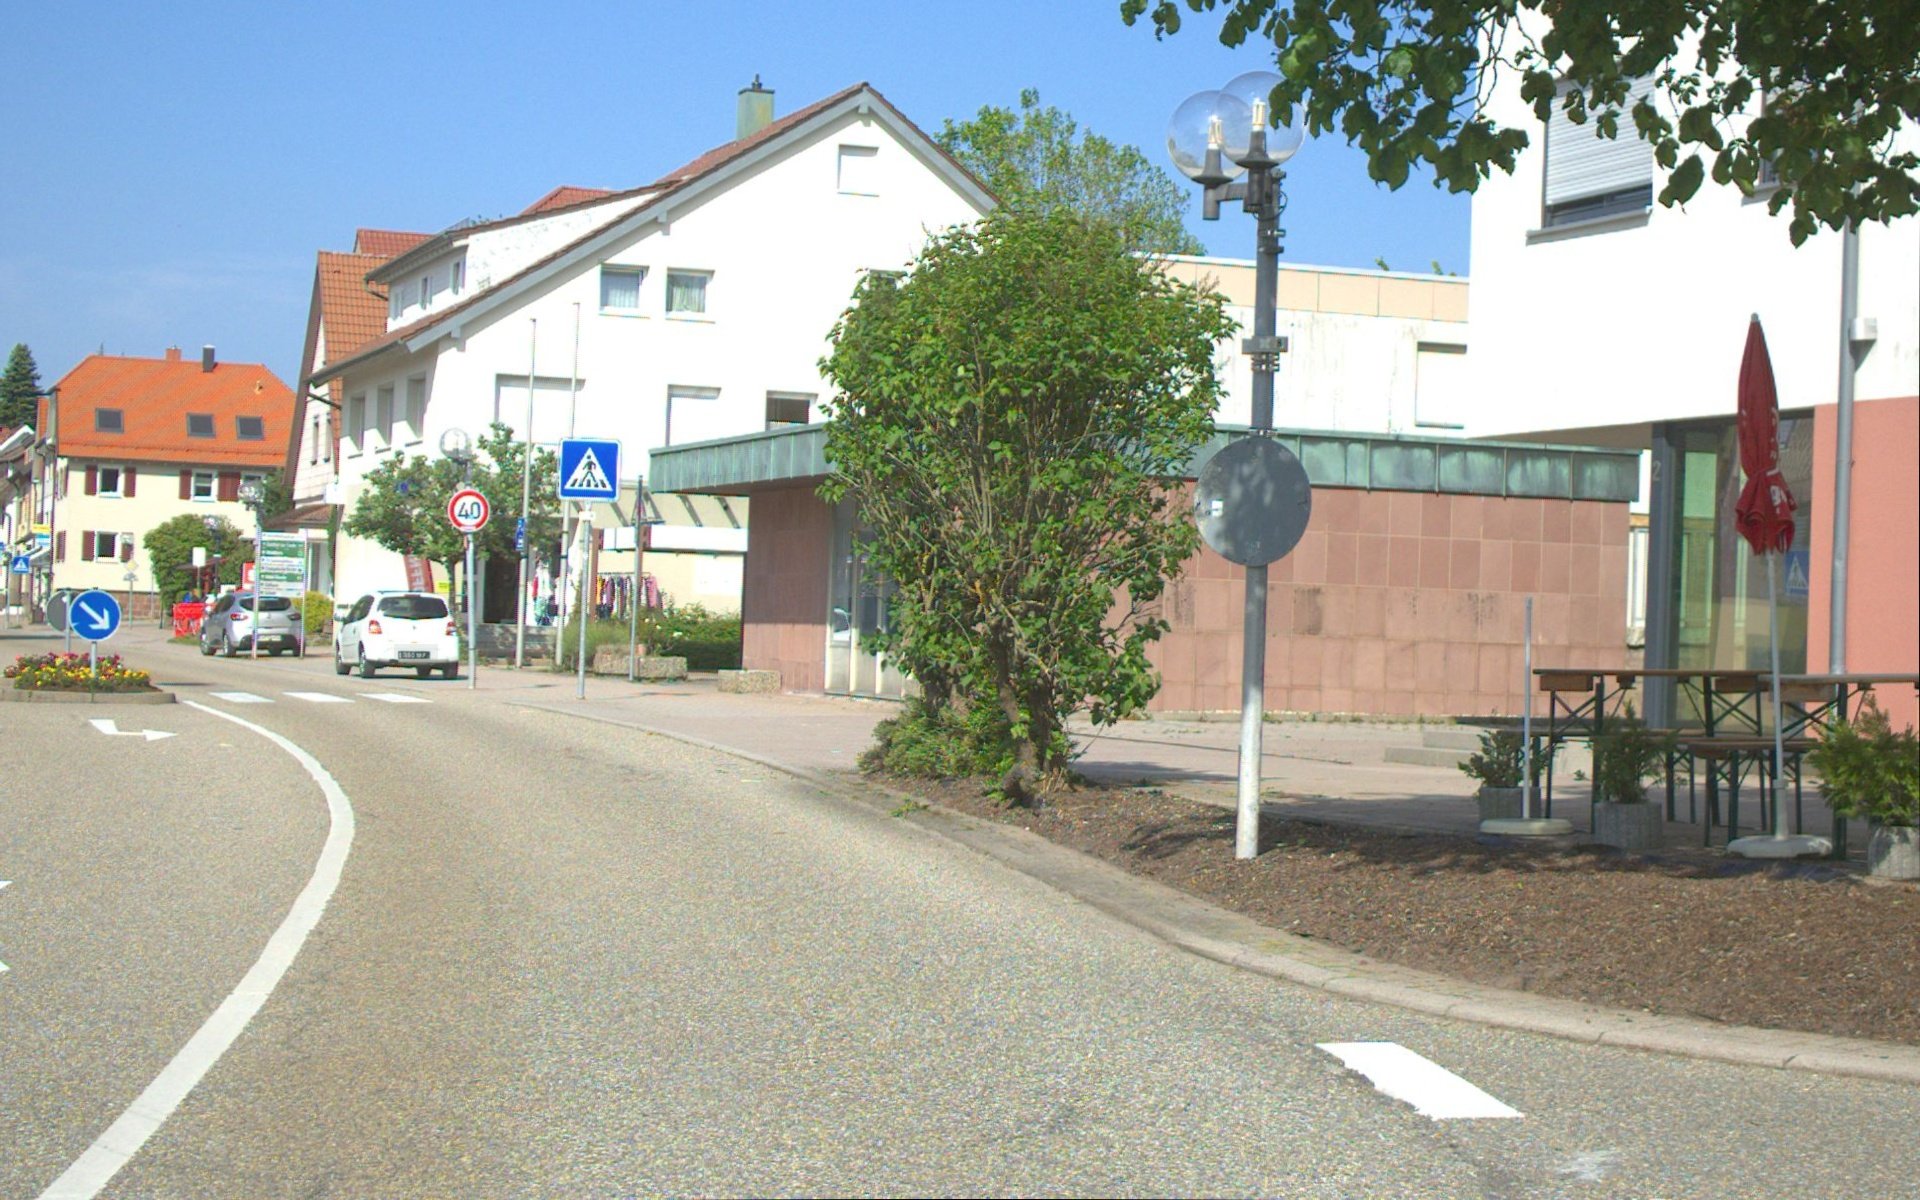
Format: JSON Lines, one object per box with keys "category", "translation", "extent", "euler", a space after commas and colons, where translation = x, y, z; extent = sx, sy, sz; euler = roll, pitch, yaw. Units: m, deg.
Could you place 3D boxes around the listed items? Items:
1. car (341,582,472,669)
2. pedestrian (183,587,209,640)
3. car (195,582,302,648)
{"category": "car", "translation": [-9.448, 0.415, 58.510], "extent": [1.759, 1.418, 3.635], "euler": [0, 0, -16]}
{"category": "pedestrian", "translation": [-25.898, 0.464, 116.511], "extent": [0.799, 1.778, 0.980], "euler": [1, 0, -14]}
{"category": "car", "translation": [-15.736, 0.308, 75.961], "extent": [1.635, 1.415, 3.936], "euler": [0, 0, -22]}
